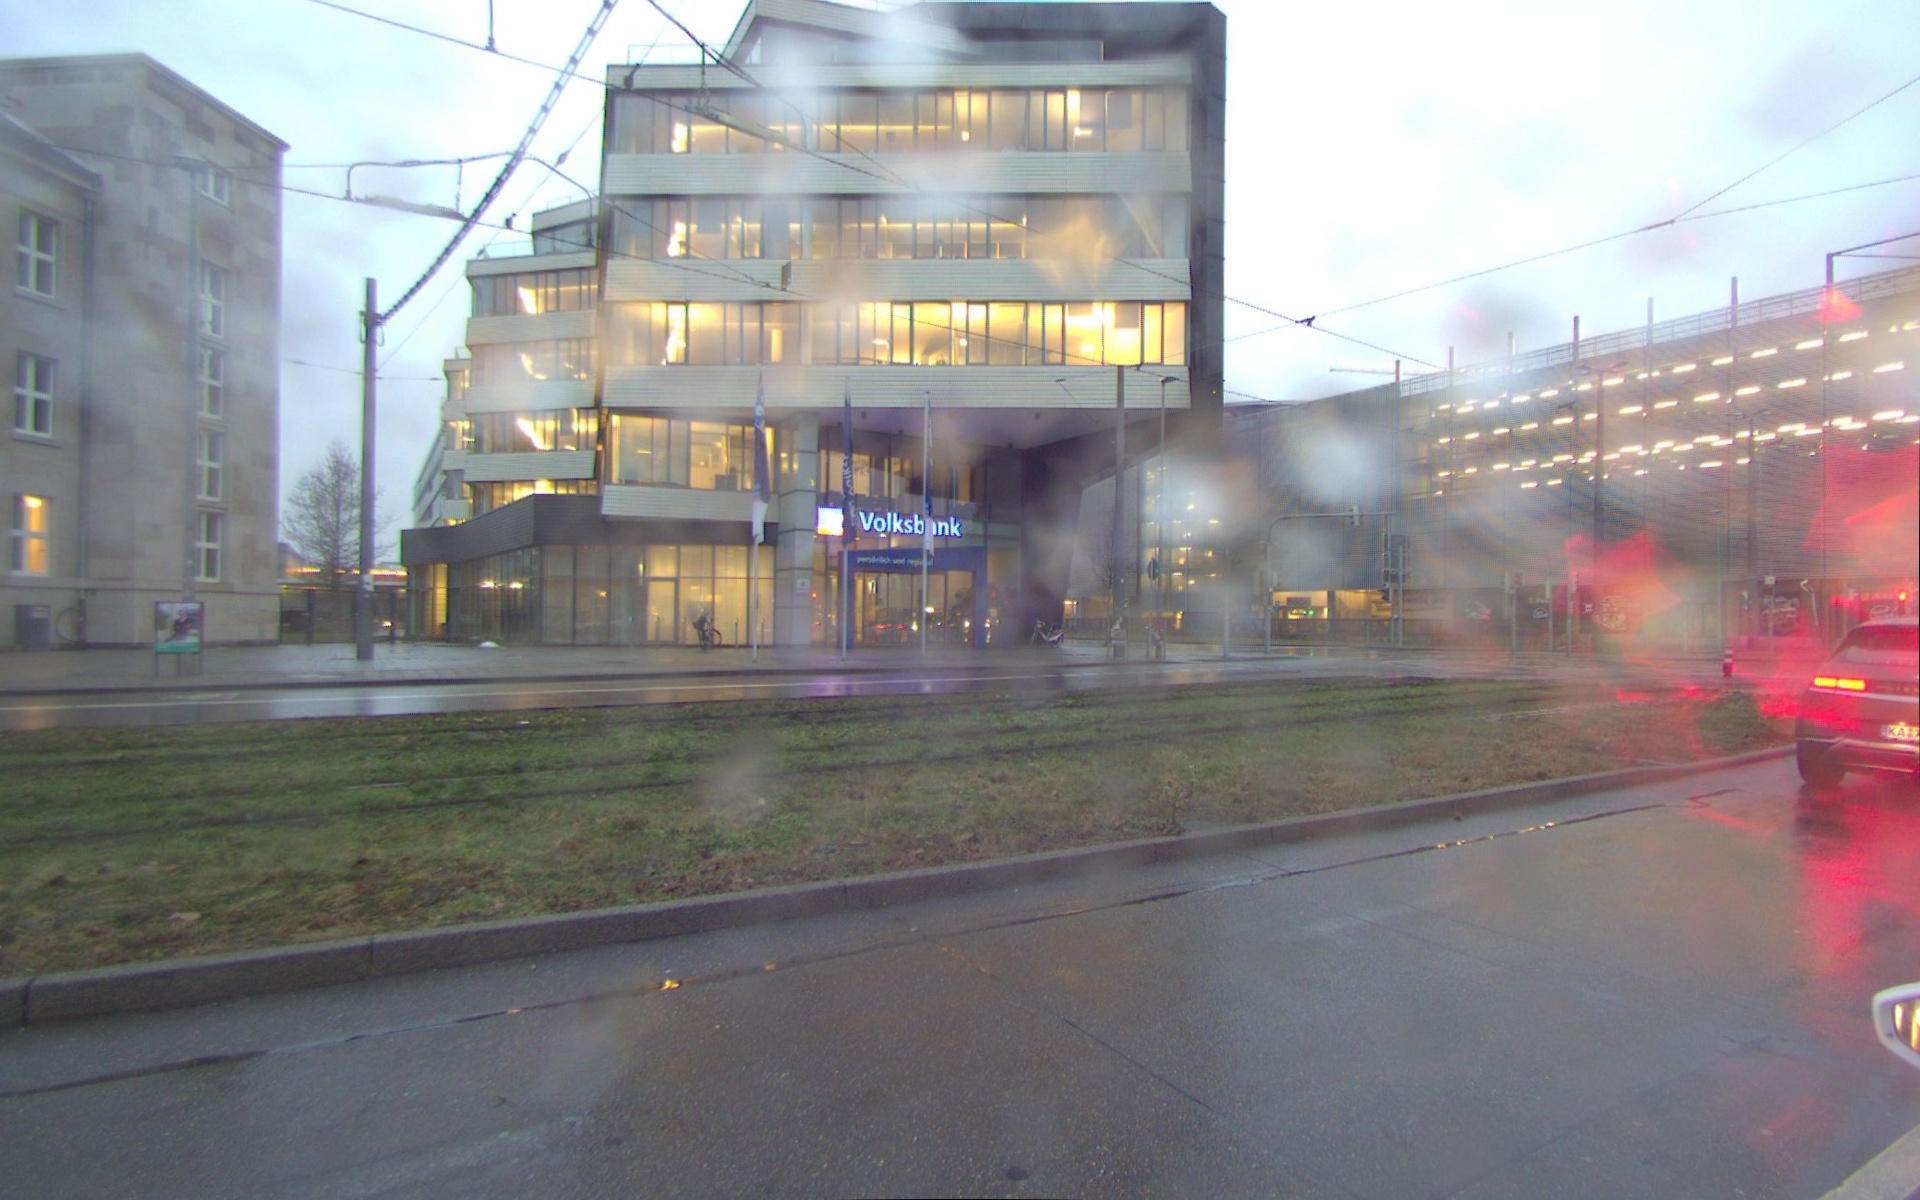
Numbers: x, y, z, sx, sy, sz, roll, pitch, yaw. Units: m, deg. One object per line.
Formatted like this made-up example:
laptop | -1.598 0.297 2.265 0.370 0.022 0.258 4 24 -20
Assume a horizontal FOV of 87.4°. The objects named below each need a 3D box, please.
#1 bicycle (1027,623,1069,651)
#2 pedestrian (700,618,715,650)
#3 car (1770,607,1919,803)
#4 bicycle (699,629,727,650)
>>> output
bicycle | 3.521 1.459 40.108 1.588 1.105 0.553 1 -1 -23
pedestrian | -8.639 1.155 34.350 0.380 1.103 0.325 0 -1 5
car | 9.388 0.900 9.412 3.959 1.595 1.742 1 -1 -34
bicycle | -8.623 1.369 35.064 0.896 0.724 0.483 1 -1 -10
